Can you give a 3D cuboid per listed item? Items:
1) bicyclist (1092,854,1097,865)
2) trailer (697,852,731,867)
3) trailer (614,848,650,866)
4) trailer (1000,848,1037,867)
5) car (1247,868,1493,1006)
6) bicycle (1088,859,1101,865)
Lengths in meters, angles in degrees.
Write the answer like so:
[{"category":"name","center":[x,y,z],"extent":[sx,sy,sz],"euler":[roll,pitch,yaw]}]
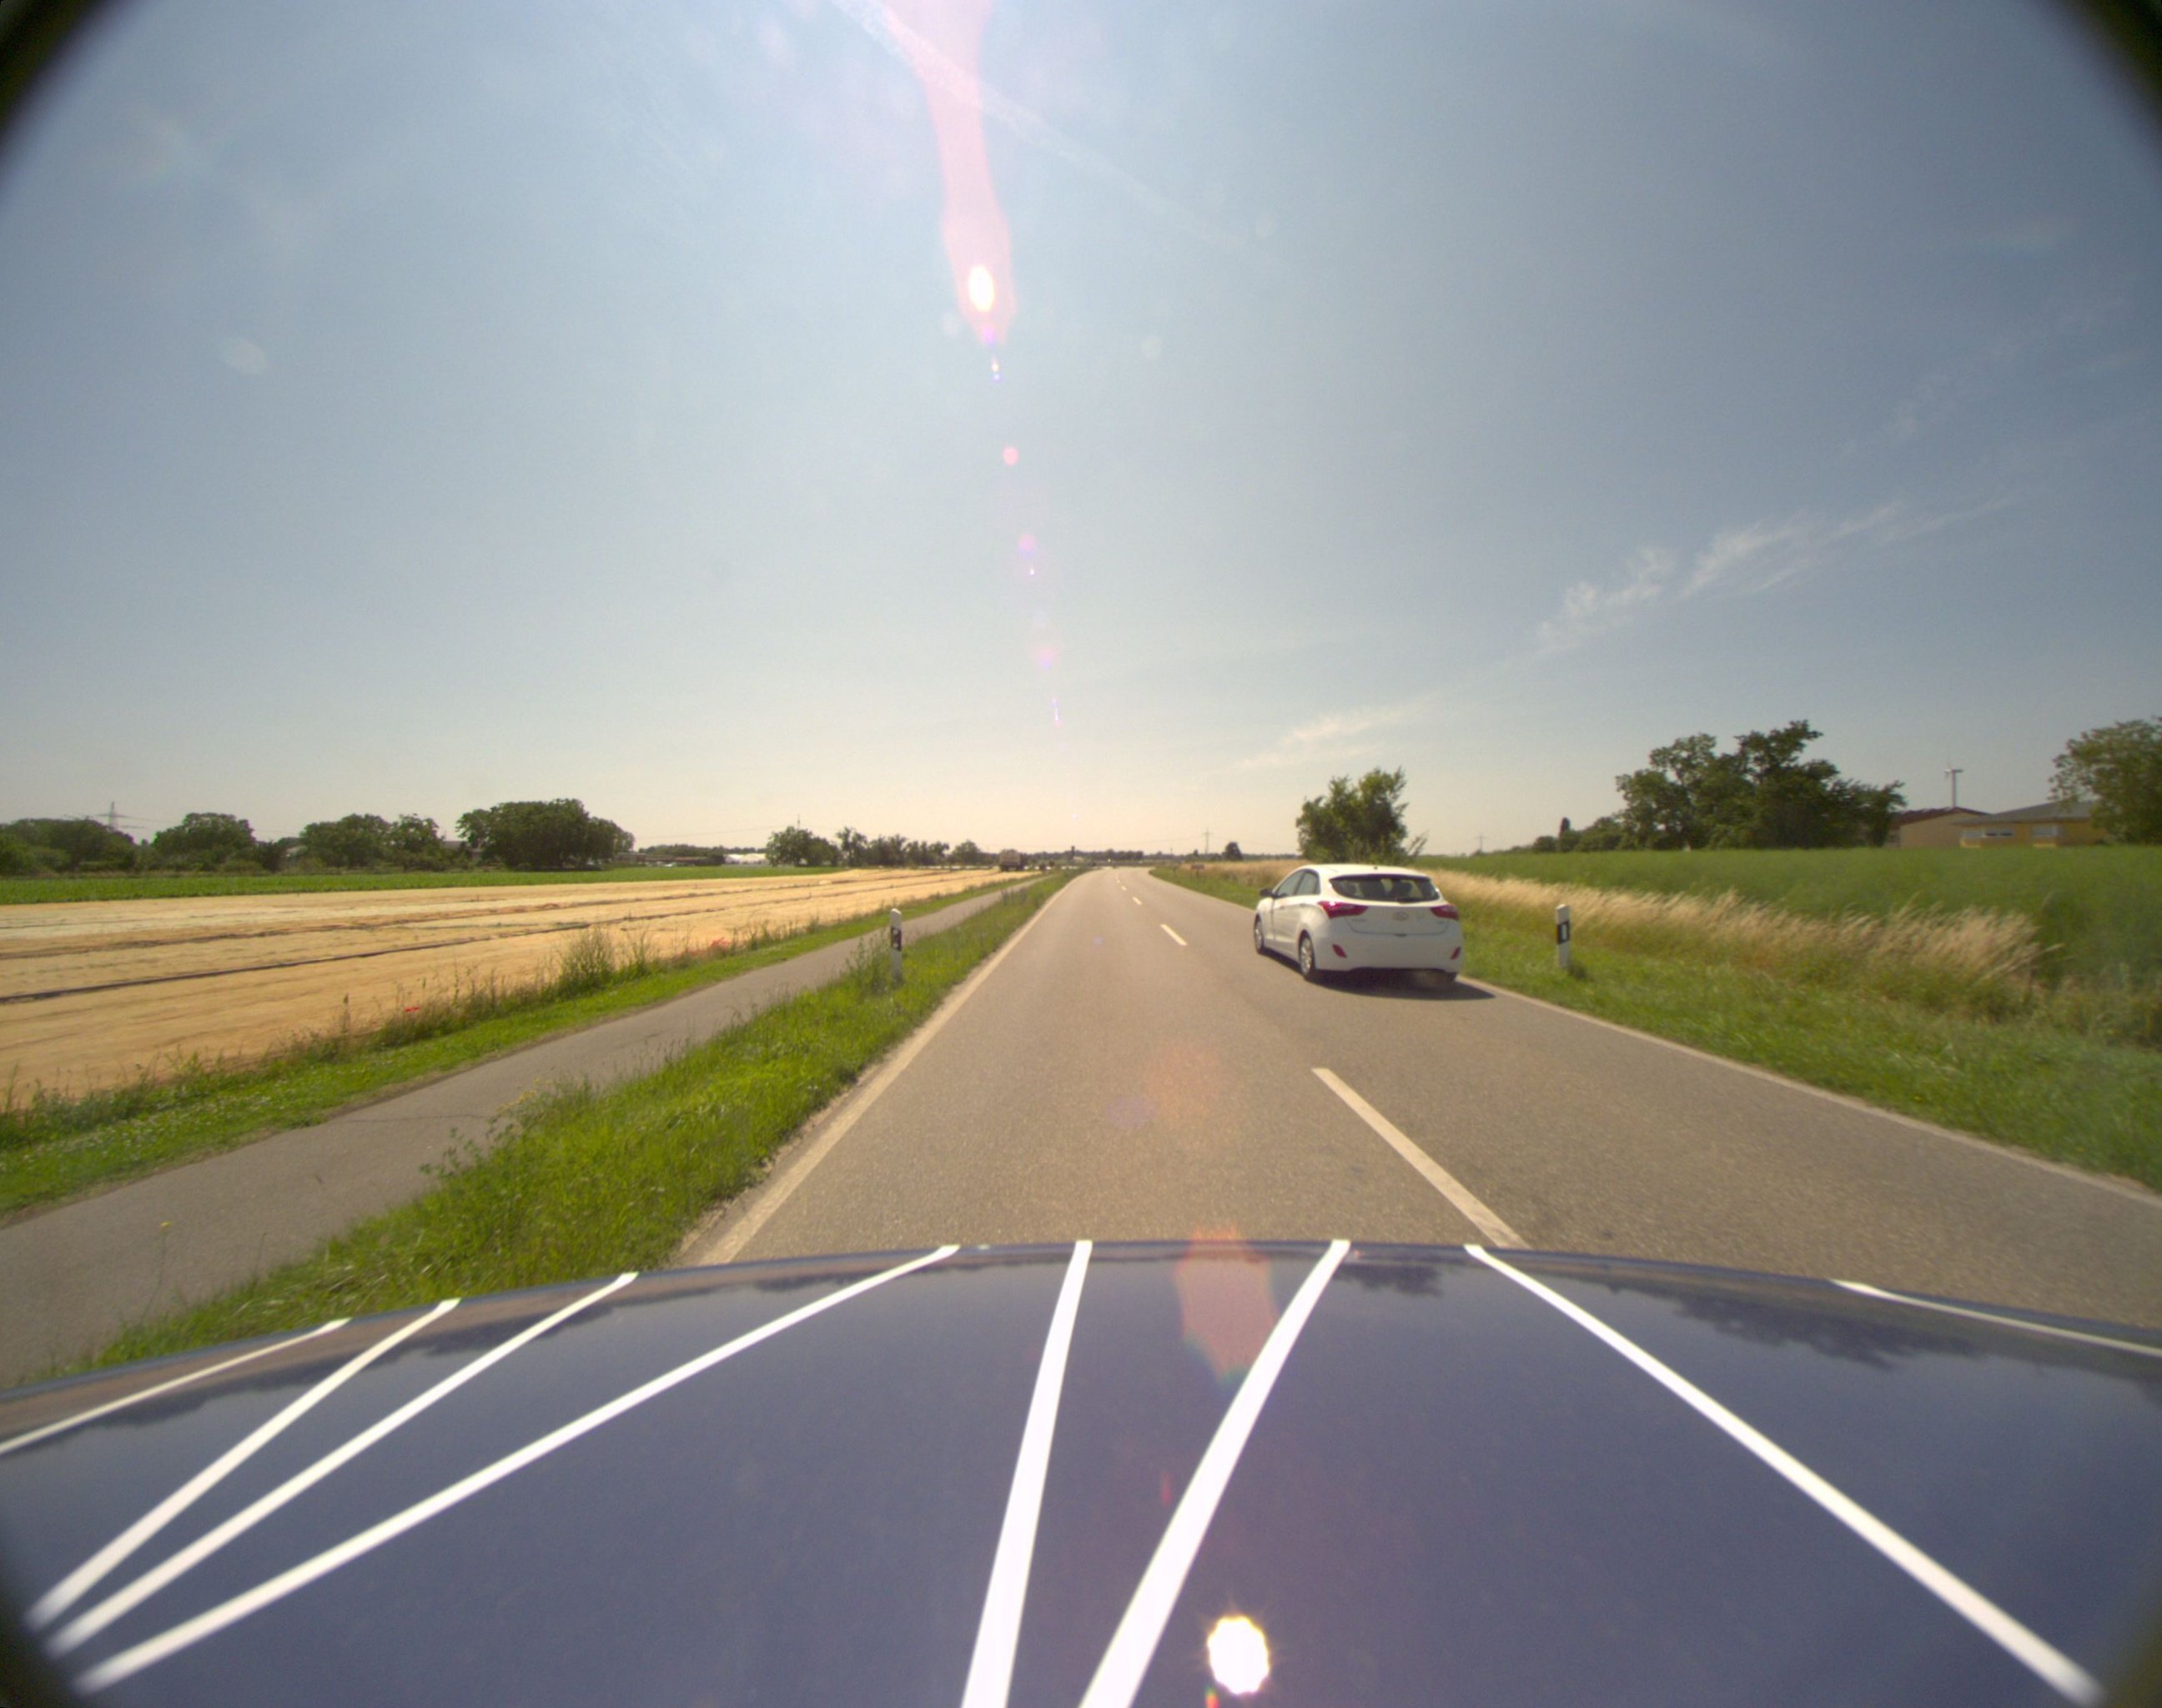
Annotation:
[{"category":"bicyclist","center":[2.161,0.908,121.672],"extent":[0.700,1.747,0.663],"euler":[-1,1,19]},{"category":"trailer","center":[-85.724,1.284,177.329],"extent":[7.422,3.274,3.265],"euler":[-1,0,27]},{"category":"trailer","center":[-111.464,0.709,188.638],"extent":[7.427,4.197,3.161],"euler":[-1,1,14]},{"category":"trailer","center":[-9.790,0.493,118.945],"extent":[5.283,2.936,2.003],"euler":[1,2,21]},{"category":"car","center":[3.599,0.944,10.368],"extent":[1.796,1.401,4.185],"euler":[1,0,1]},{"category":"bicycle","center":[2.167,1.288,121.677],"extent":[1.920,0.986,0.683],"euler":[-1,0,19]}]
